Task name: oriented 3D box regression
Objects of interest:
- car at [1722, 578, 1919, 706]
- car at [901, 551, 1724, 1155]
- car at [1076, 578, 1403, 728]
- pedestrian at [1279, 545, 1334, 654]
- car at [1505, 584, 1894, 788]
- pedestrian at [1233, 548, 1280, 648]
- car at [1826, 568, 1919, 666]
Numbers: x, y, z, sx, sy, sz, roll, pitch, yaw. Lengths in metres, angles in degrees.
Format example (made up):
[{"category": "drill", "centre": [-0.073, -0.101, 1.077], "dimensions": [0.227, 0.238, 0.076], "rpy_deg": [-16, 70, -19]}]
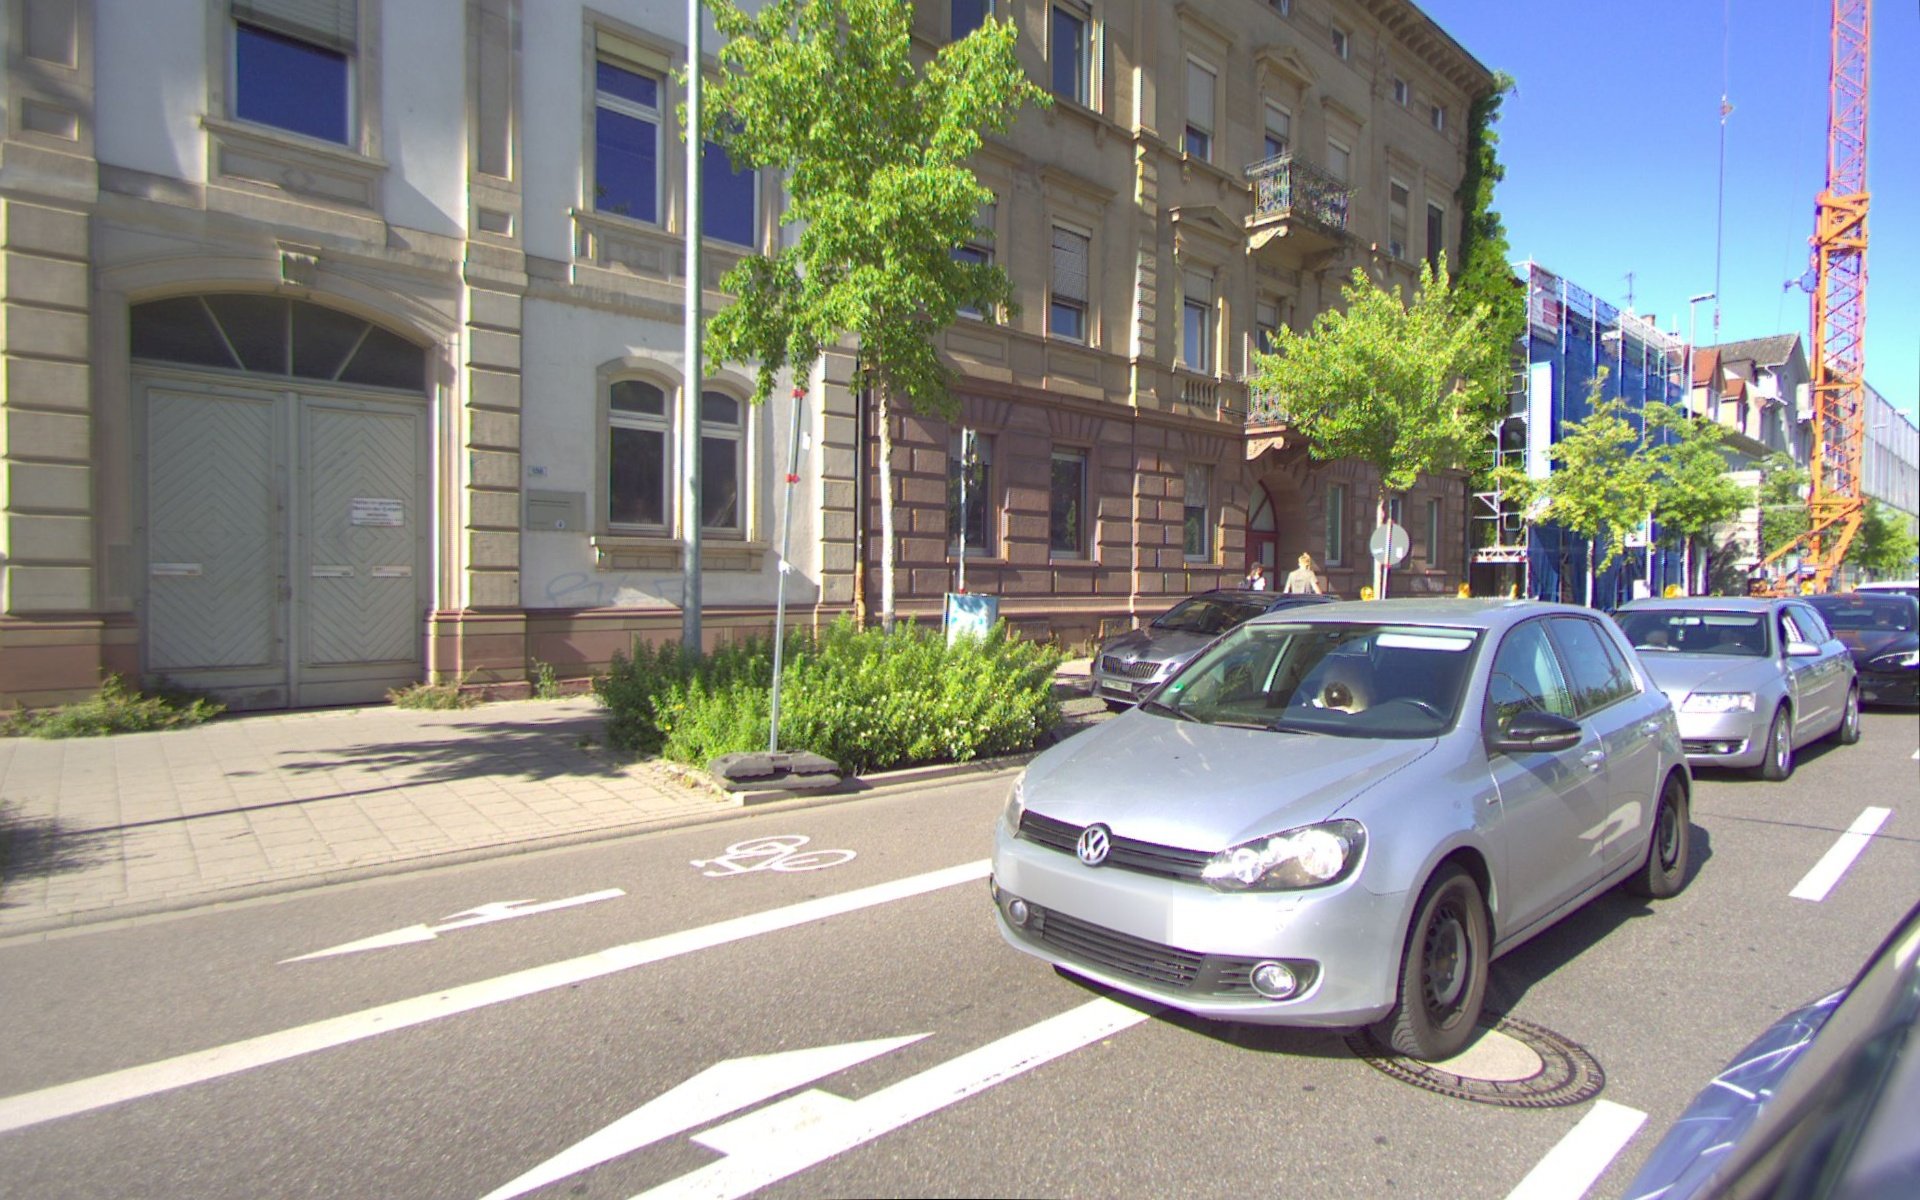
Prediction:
[{"category": "car", "centre": [12.060, 0.458, 13.590], "dimensions": [4.446, 1.462, 2.054], "rpy_deg": [-1, 0, -41]}, {"category": "car", "centre": [1.830, 0.625, 4.549], "dimensions": [3.934, 1.546, 1.753], "rpy_deg": [-1, 0, -40]}, {"category": "car", "centre": [3.649, 0.512, 12.697], "dimensions": [4.619, 1.493, 1.651], "rpy_deg": [-1, 4, -41]}, {"category": "pedestrian", "centre": [6.347, -0.019, 18.527], "dimensions": [0.577, 1.936, 0.660], "rpy_deg": [0, 4, -41]}, {"category": "car", "centre": [6.974, 0.577, 9.330], "dimensions": [4.751, 1.445, 1.751], "rpy_deg": [-1, 1, -39]}, {"category": "pedestrian", "centre": [5.645, -0.046, 19.270], "dimensions": [0.577, 1.843, 0.564], "rpy_deg": [0, 4, -41]}, {"category": "car", "centre": [17.637, 0.268, 18.667], "dimensions": [3.930, 1.654, 1.932], "rpy_deg": [-1, 0, -40]}]
